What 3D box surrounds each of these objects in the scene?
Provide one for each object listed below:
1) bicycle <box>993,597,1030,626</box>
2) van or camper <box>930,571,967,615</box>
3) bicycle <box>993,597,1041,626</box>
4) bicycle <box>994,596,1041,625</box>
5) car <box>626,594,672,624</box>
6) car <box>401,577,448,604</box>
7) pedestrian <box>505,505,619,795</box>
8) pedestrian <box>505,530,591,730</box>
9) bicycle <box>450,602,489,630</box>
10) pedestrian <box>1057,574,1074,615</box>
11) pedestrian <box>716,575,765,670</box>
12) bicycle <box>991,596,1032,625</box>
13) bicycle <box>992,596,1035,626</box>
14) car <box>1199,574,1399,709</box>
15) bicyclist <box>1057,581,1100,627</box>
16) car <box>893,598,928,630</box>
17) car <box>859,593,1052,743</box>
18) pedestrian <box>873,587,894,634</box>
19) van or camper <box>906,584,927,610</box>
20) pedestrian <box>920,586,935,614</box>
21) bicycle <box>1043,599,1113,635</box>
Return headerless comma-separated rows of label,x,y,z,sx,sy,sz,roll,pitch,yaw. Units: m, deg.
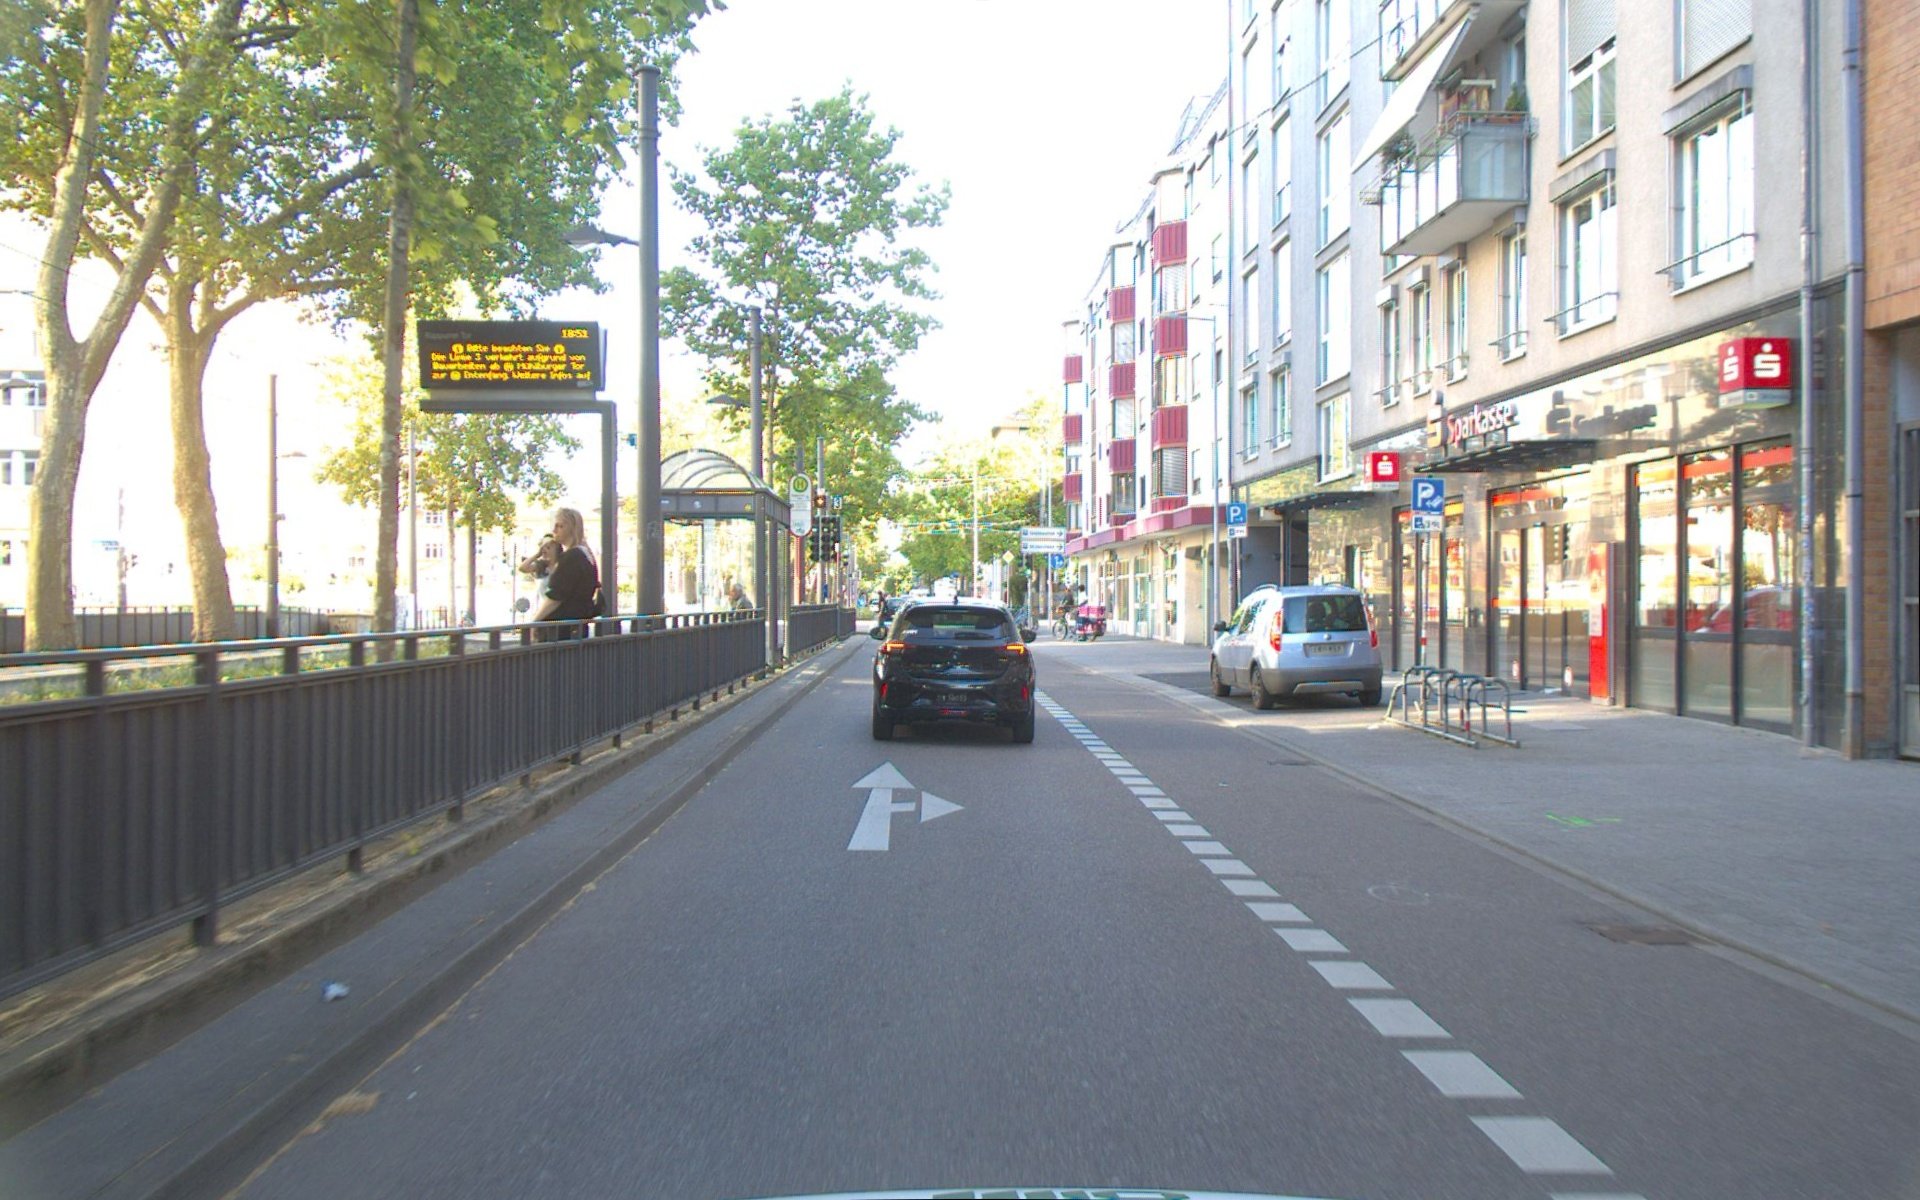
bicycle,2.207,0.473,70.570,1.589,1.220,0.496,0,0,2
van or camper,-0.905,-0.519,125.574,2.328,3.179,7.546,-3,0,-3
bicycle,2.398,0.478,69.138,1.939,1.220,0.590,0,0,-7
bicycle,2.391,0.447,68.499,1.902,1.191,0.571,0,0,-5
car,-20.902,0.572,111.283,1.951,1.982,4.426,0,0,4
car,-41.631,-0.727,128.775,1.952,2.049,4.726,0,0,2
pedestrian,-2.705,0.328,11.292,0.633,1.920,0.661,0,0,-2
pedestrian,-3.998,0.285,16.094,0.632,1.904,0.753,1,0,-1
bicycle,-17.633,0.573,59.508,0.796,0.962,1.726,0,0,4
pedestrian,4.896,-0.245,76.956,0.708,1.890,0.800,0,0,-3
pedestrian,-3.155,0.312,23.835,0.613,1.342,0.801,0,0,-1
bicycle,2.211,0.462,71.317,1.764,1.220,0.546,0,-1,2
bicycle,2.273,0.453,70.001,1.793,1.242,0.496,0,0,1
car,4.678,0.524,23.450,1.796,1.651,4.283,-3,0,-1
bicyclist,4.077,0.142,56.825,1.050,1.567,1.064,0,0,-39
car,-2.577,0.728,87.467,1.795,1.651,4.283,0,0,-1
car,-0.089,0.654,18.214,1.866,1.450,4.214,0,0,-1
pedestrian,-2.919,0.388,63.463,0.719,1.777,0.712,0,0,3
van or camper,-5.251,-0.337,198.976,2.436,3.046,5.432,2,0,-1
pedestrian,-2.371,-0.002,119.009,1.015,2.059,1.212,0,0,-3
bicycle,4.041,0.571,56.864,0.954,1.204,2.561,0,0,-39
